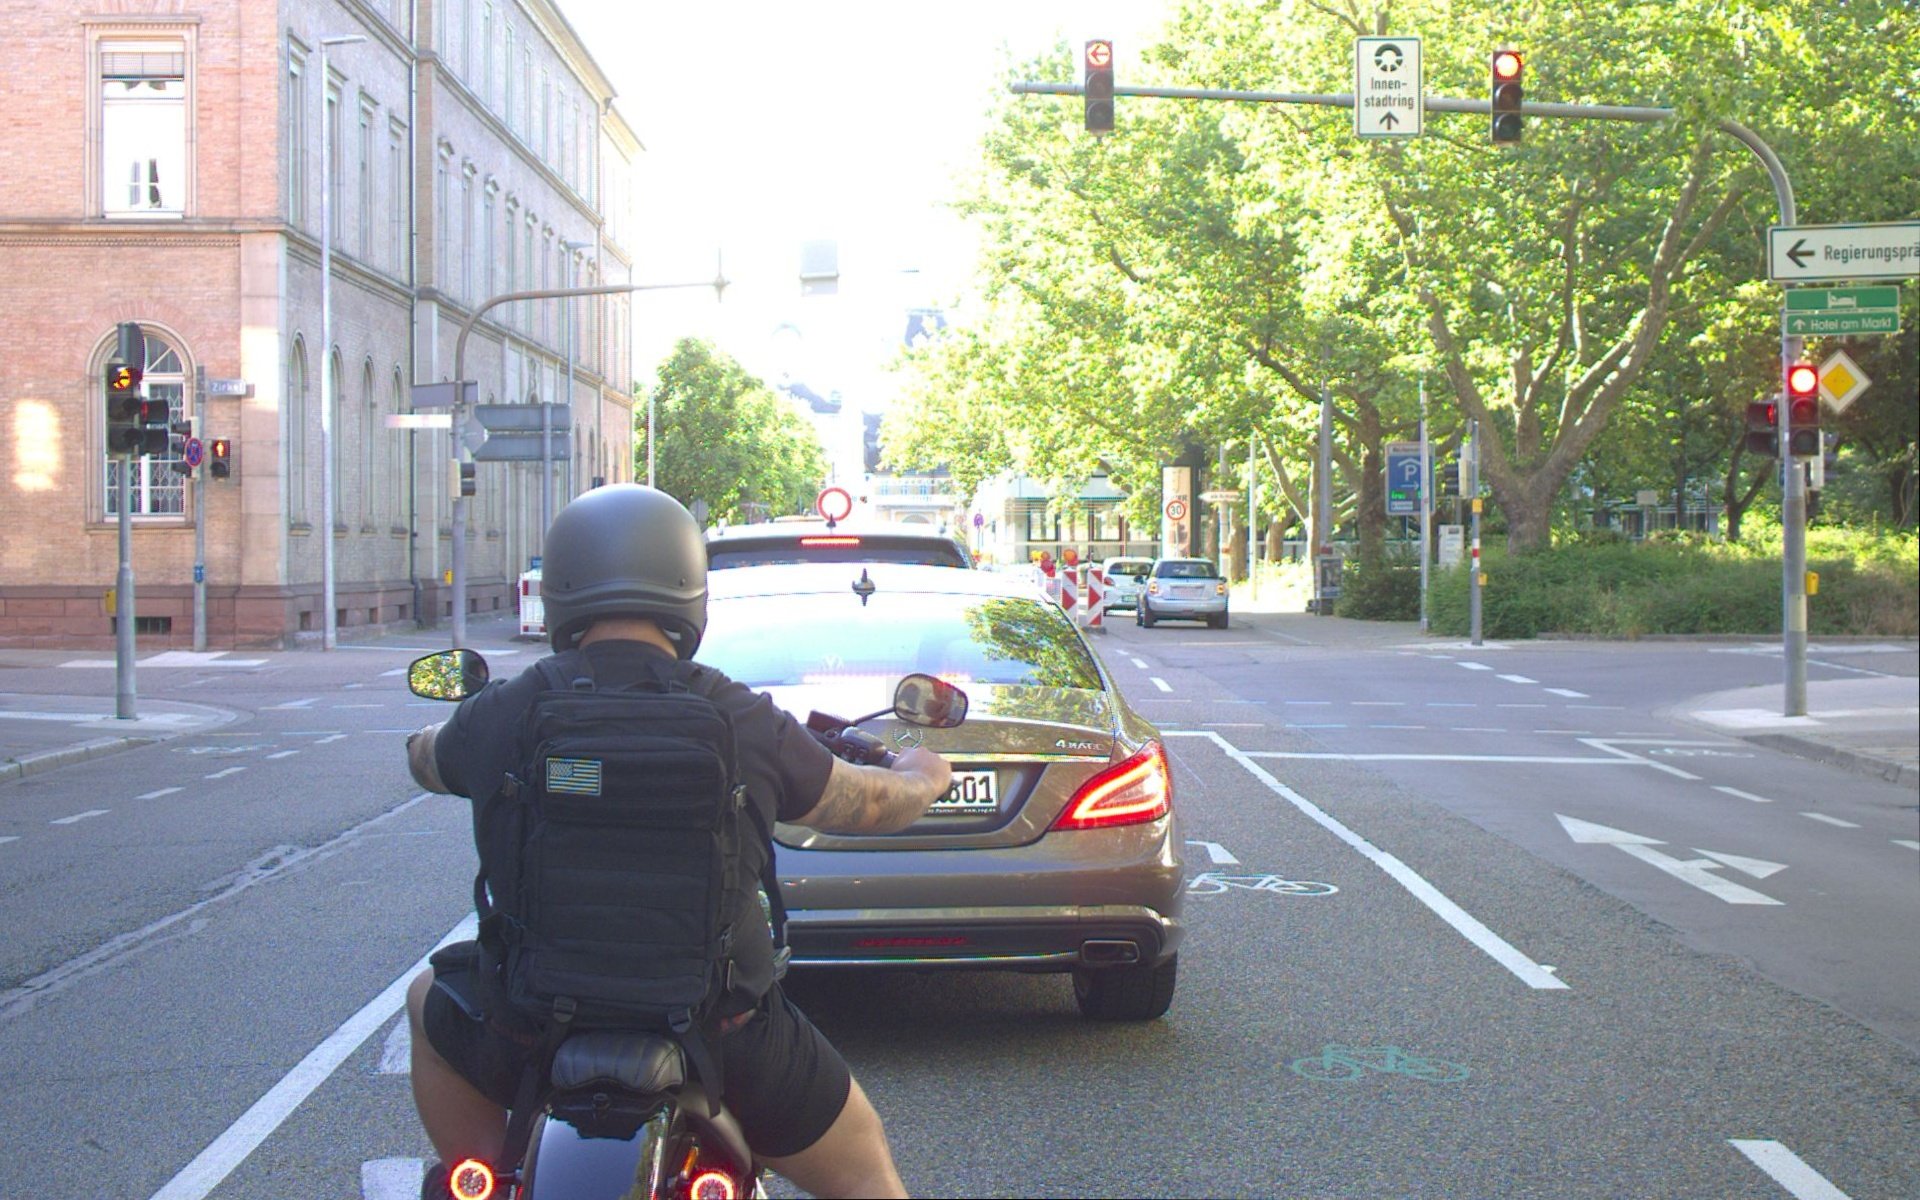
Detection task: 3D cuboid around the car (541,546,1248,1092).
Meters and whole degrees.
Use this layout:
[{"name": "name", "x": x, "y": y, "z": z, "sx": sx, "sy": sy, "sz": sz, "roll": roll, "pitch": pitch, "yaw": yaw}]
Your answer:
[{"name": "car", "x": -0.432, "y": 0.560, "z": 11.605, "sx": 1.945, "sy": 1.468, "sz": 4.363, "roll": 0, "pitch": 1, "yaw": -7}]

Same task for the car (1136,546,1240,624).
[{"name": "car", "x": 4.560, "y": -0.319, "z": 69.164, "sx": 1.821, "sy": 1.475, "sz": 3.908, "roll": -1, "pitch": 1, "yaw": 0}]

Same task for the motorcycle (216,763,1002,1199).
[{"name": "motorcycle", "x": -0.456, "y": 0.882, "z": 5.569, "sx": 0.989, "sy": 1.075, "sz": 2.452, "roll": 0, "pitch": 1, "yaw": -1}]

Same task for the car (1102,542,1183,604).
[{"name": "car", "x": 4.506, "y": -0.675, "z": 85.281, "sx": 1.856, "sy": 1.481, "sz": 3.908, "roll": 1, "pitch": 1, "yaw": 1}]

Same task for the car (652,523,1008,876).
[{"name": "car", "x": -0.638, "y": 0.409, "z": 17.770, "sx": 1.612, "sy": 1.602, "sz": 4.329, "roll": 0, "pitch": 1, "yaw": -1}]

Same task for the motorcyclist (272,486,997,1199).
[{"name": "motorcyclist", "x": -0.453, "y": 0.626, "z": 5.410, "sx": 0.989, "sy": 1.591, "sz": 1.404, "roll": 0, "pitch": 1, "yaw": -1}]
